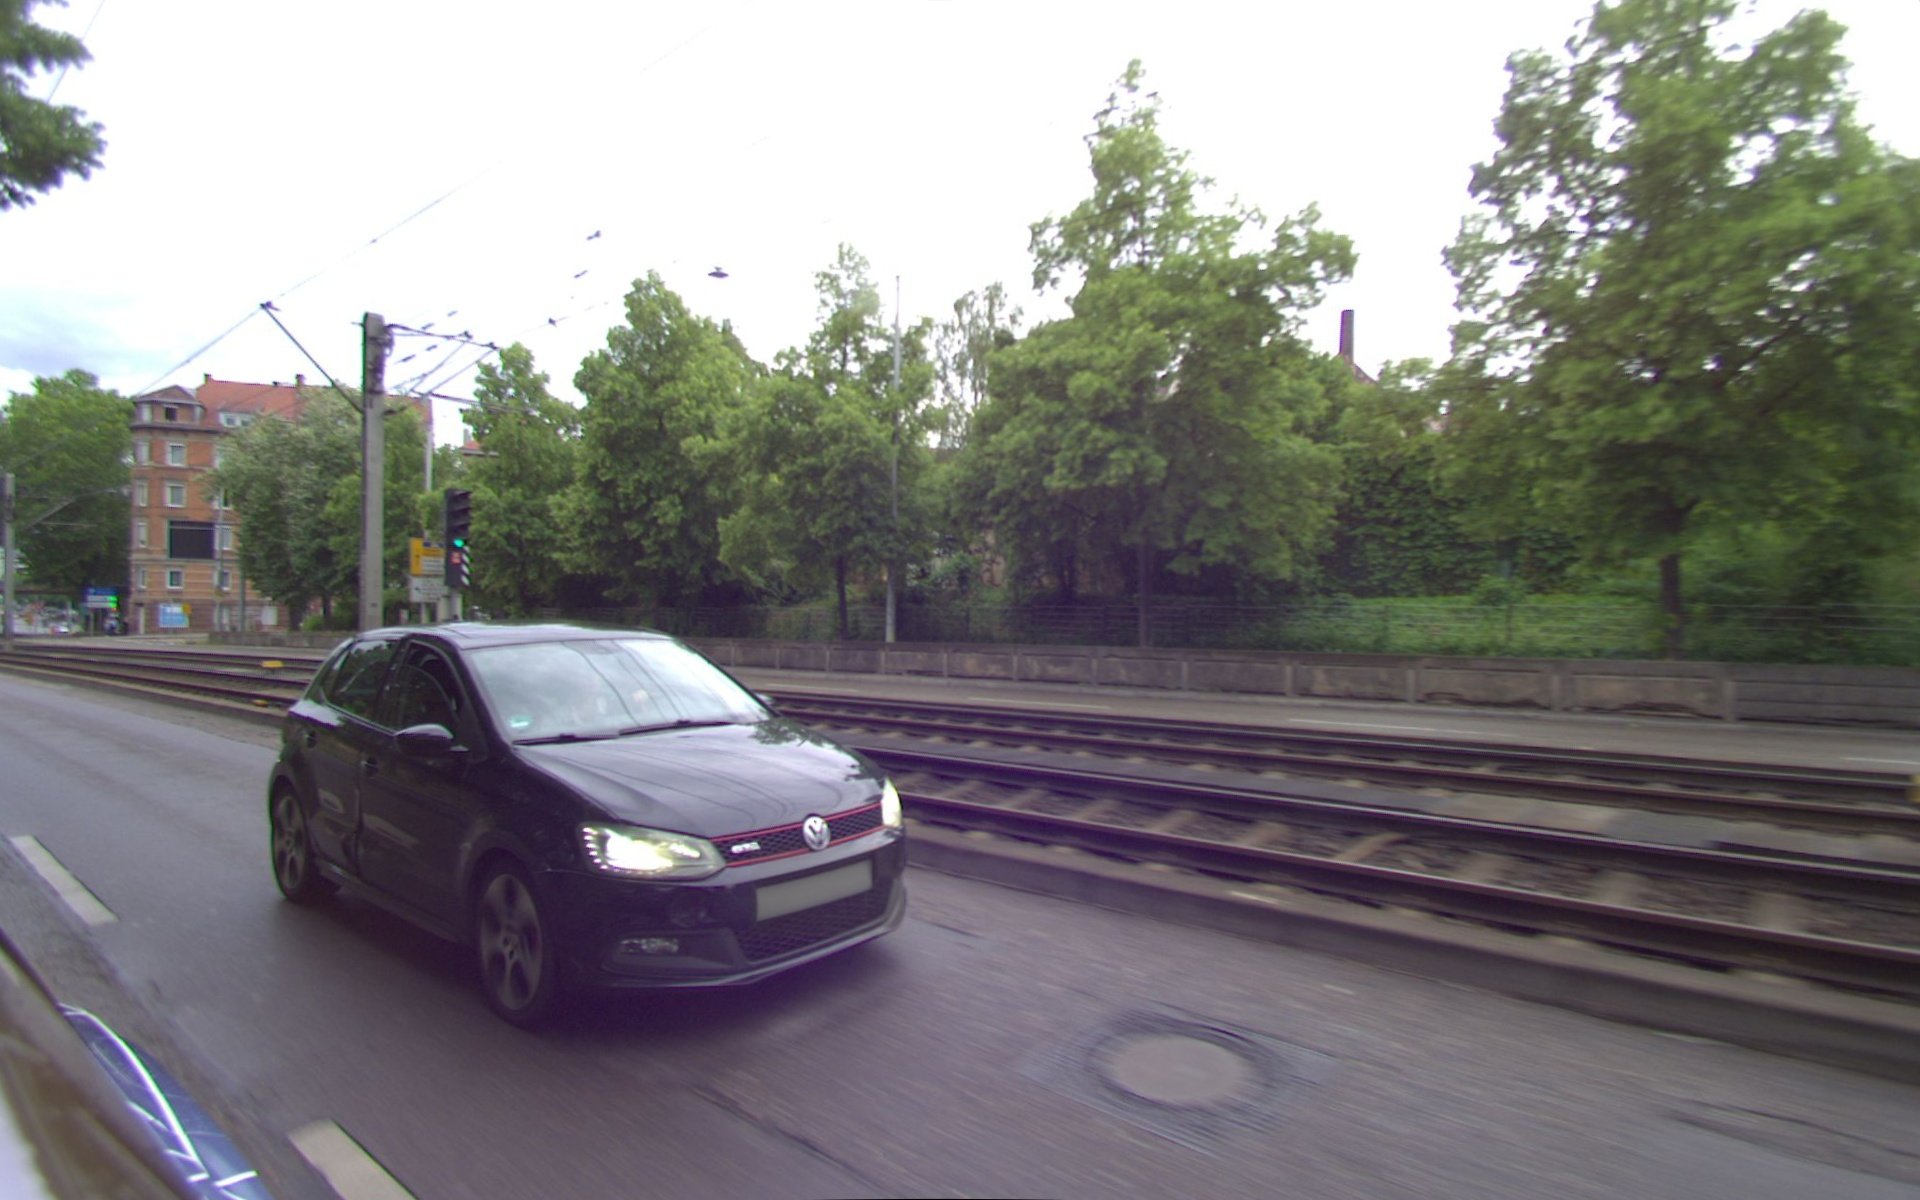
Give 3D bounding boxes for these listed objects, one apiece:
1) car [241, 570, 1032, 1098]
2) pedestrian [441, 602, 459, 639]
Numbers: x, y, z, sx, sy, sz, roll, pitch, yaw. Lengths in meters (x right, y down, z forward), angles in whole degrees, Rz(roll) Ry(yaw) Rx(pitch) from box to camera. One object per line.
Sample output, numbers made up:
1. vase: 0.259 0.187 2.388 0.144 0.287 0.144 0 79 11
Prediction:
1. car: -1.781 0.708 4.847 3.961 1.497 1.776 -1 -1 40
2. pedestrian: -26.851 1.087 53.299 0.653 1.917 0.590 -1 0 37
